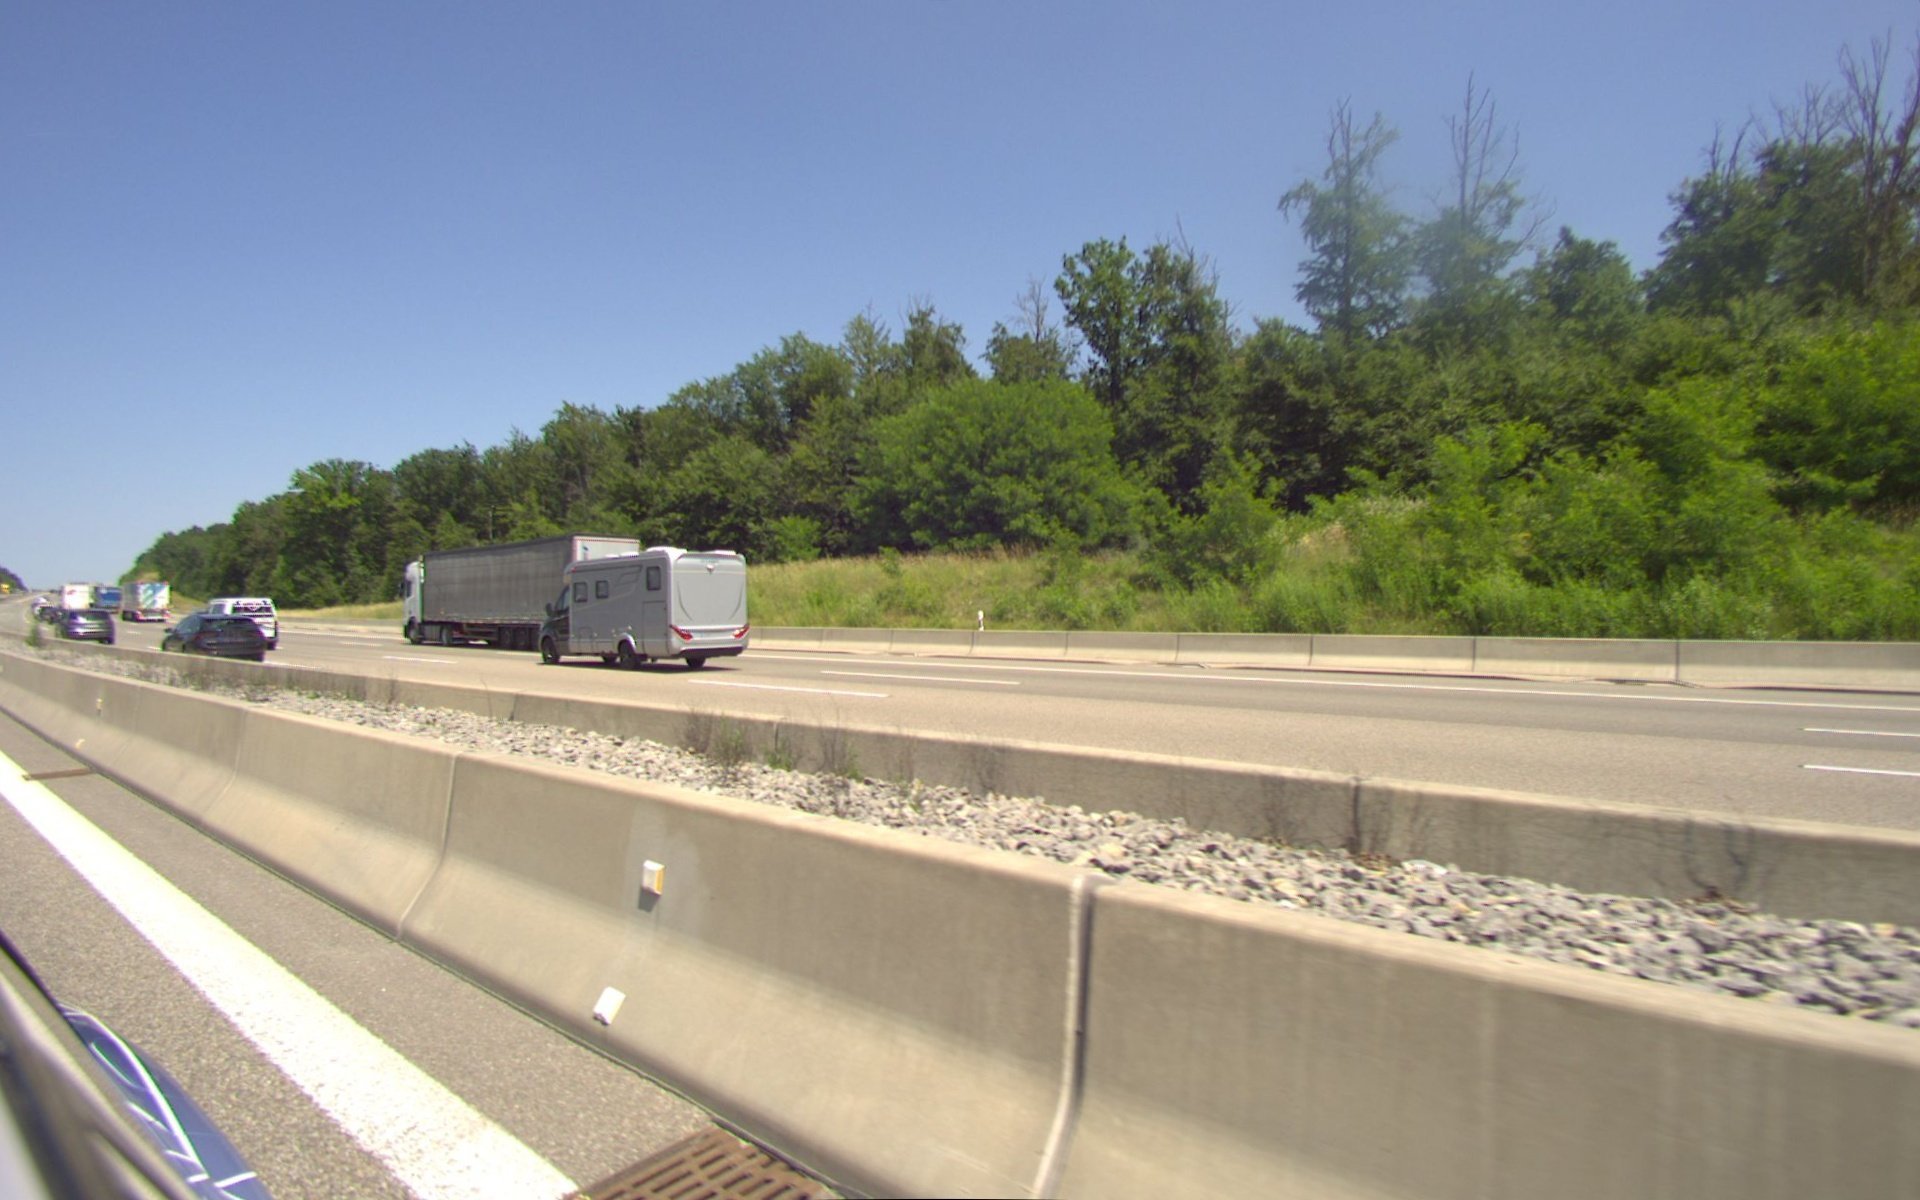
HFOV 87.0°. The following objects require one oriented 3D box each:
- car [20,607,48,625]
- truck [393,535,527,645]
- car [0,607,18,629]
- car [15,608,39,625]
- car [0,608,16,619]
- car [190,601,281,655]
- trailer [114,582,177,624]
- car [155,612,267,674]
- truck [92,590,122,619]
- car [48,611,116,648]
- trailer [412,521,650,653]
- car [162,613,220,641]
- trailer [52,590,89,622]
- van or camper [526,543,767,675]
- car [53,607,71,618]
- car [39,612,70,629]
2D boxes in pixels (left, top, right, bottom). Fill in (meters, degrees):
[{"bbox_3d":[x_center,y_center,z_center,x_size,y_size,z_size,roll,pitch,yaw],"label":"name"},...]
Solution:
[{"bbox_3d":[-93.348,1.565,101.980,4.002,1.696,1.896,0,1,45],"label":"car"},{"bbox_3d":[-21.690,-0.402,43.779,6.454,4.405,3.010,0,1,42],"label":"truck"},{"bbox_3d":[-82.940,1.530,87.576,4.986,1.843,1.807,-1,-1,44],"label":"car"},{"bbox_3d":[-108.678,1.894,117.847,4.893,1.816,1.798,0,0,44],"label":"car"},{"bbox_3d":[-135.525,1.932,144.045,1.729,1.530,4.830,0,0,-44],"label":"car"},{"bbox_3d":[-28.757,1.075,40.121,5.185,2.029,1.981,-1,-1,43],"label":"car"},{"bbox_3d":[-84.513,0.382,104.848,15.291,4.068,3.193,-1,-1,44],"label":"trailer"},{"bbox_3d":[-20.973,1.129,28.245,4.952,1.508,1.656,0,1,43],"label":"car"},{"bbox_3d":[-123.505,0.704,146.496,6.940,4.044,2.691,-1,-1,45],"label":"truck"},{"bbox_3d":[-40.733,1.339,46.925,5.164,1.645,1.852,-1,-1,43],"label":"car"},{"bbox_3d":[-17.203,-0.433,39.547,14.276,4.393,2.998,0,1,43],"label":"trailer"},{"bbox_3d":[-43.846,1.521,57.663,4.799,1.507,1.971,-1,-1,44],"label":"car"},{"bbox_3d":[-121.437,0.822,138.088,12.159,4.131,2.903,0,1,45],"label":"trailer"},{"bbox_3d":[-8.273,0.249,26.094,7.347,2.953,2.531,-1,-1,42],"label":"van or camper"},{"bbox_3d":[-160.772,2.209,181.237,5.027,1.980,2.053,0,1,45],"label":"car"},{"bbox_3d":[-82.909,1.830,92.628,4.000,1.476,1.756,0,1,43],"label":"car"}]
